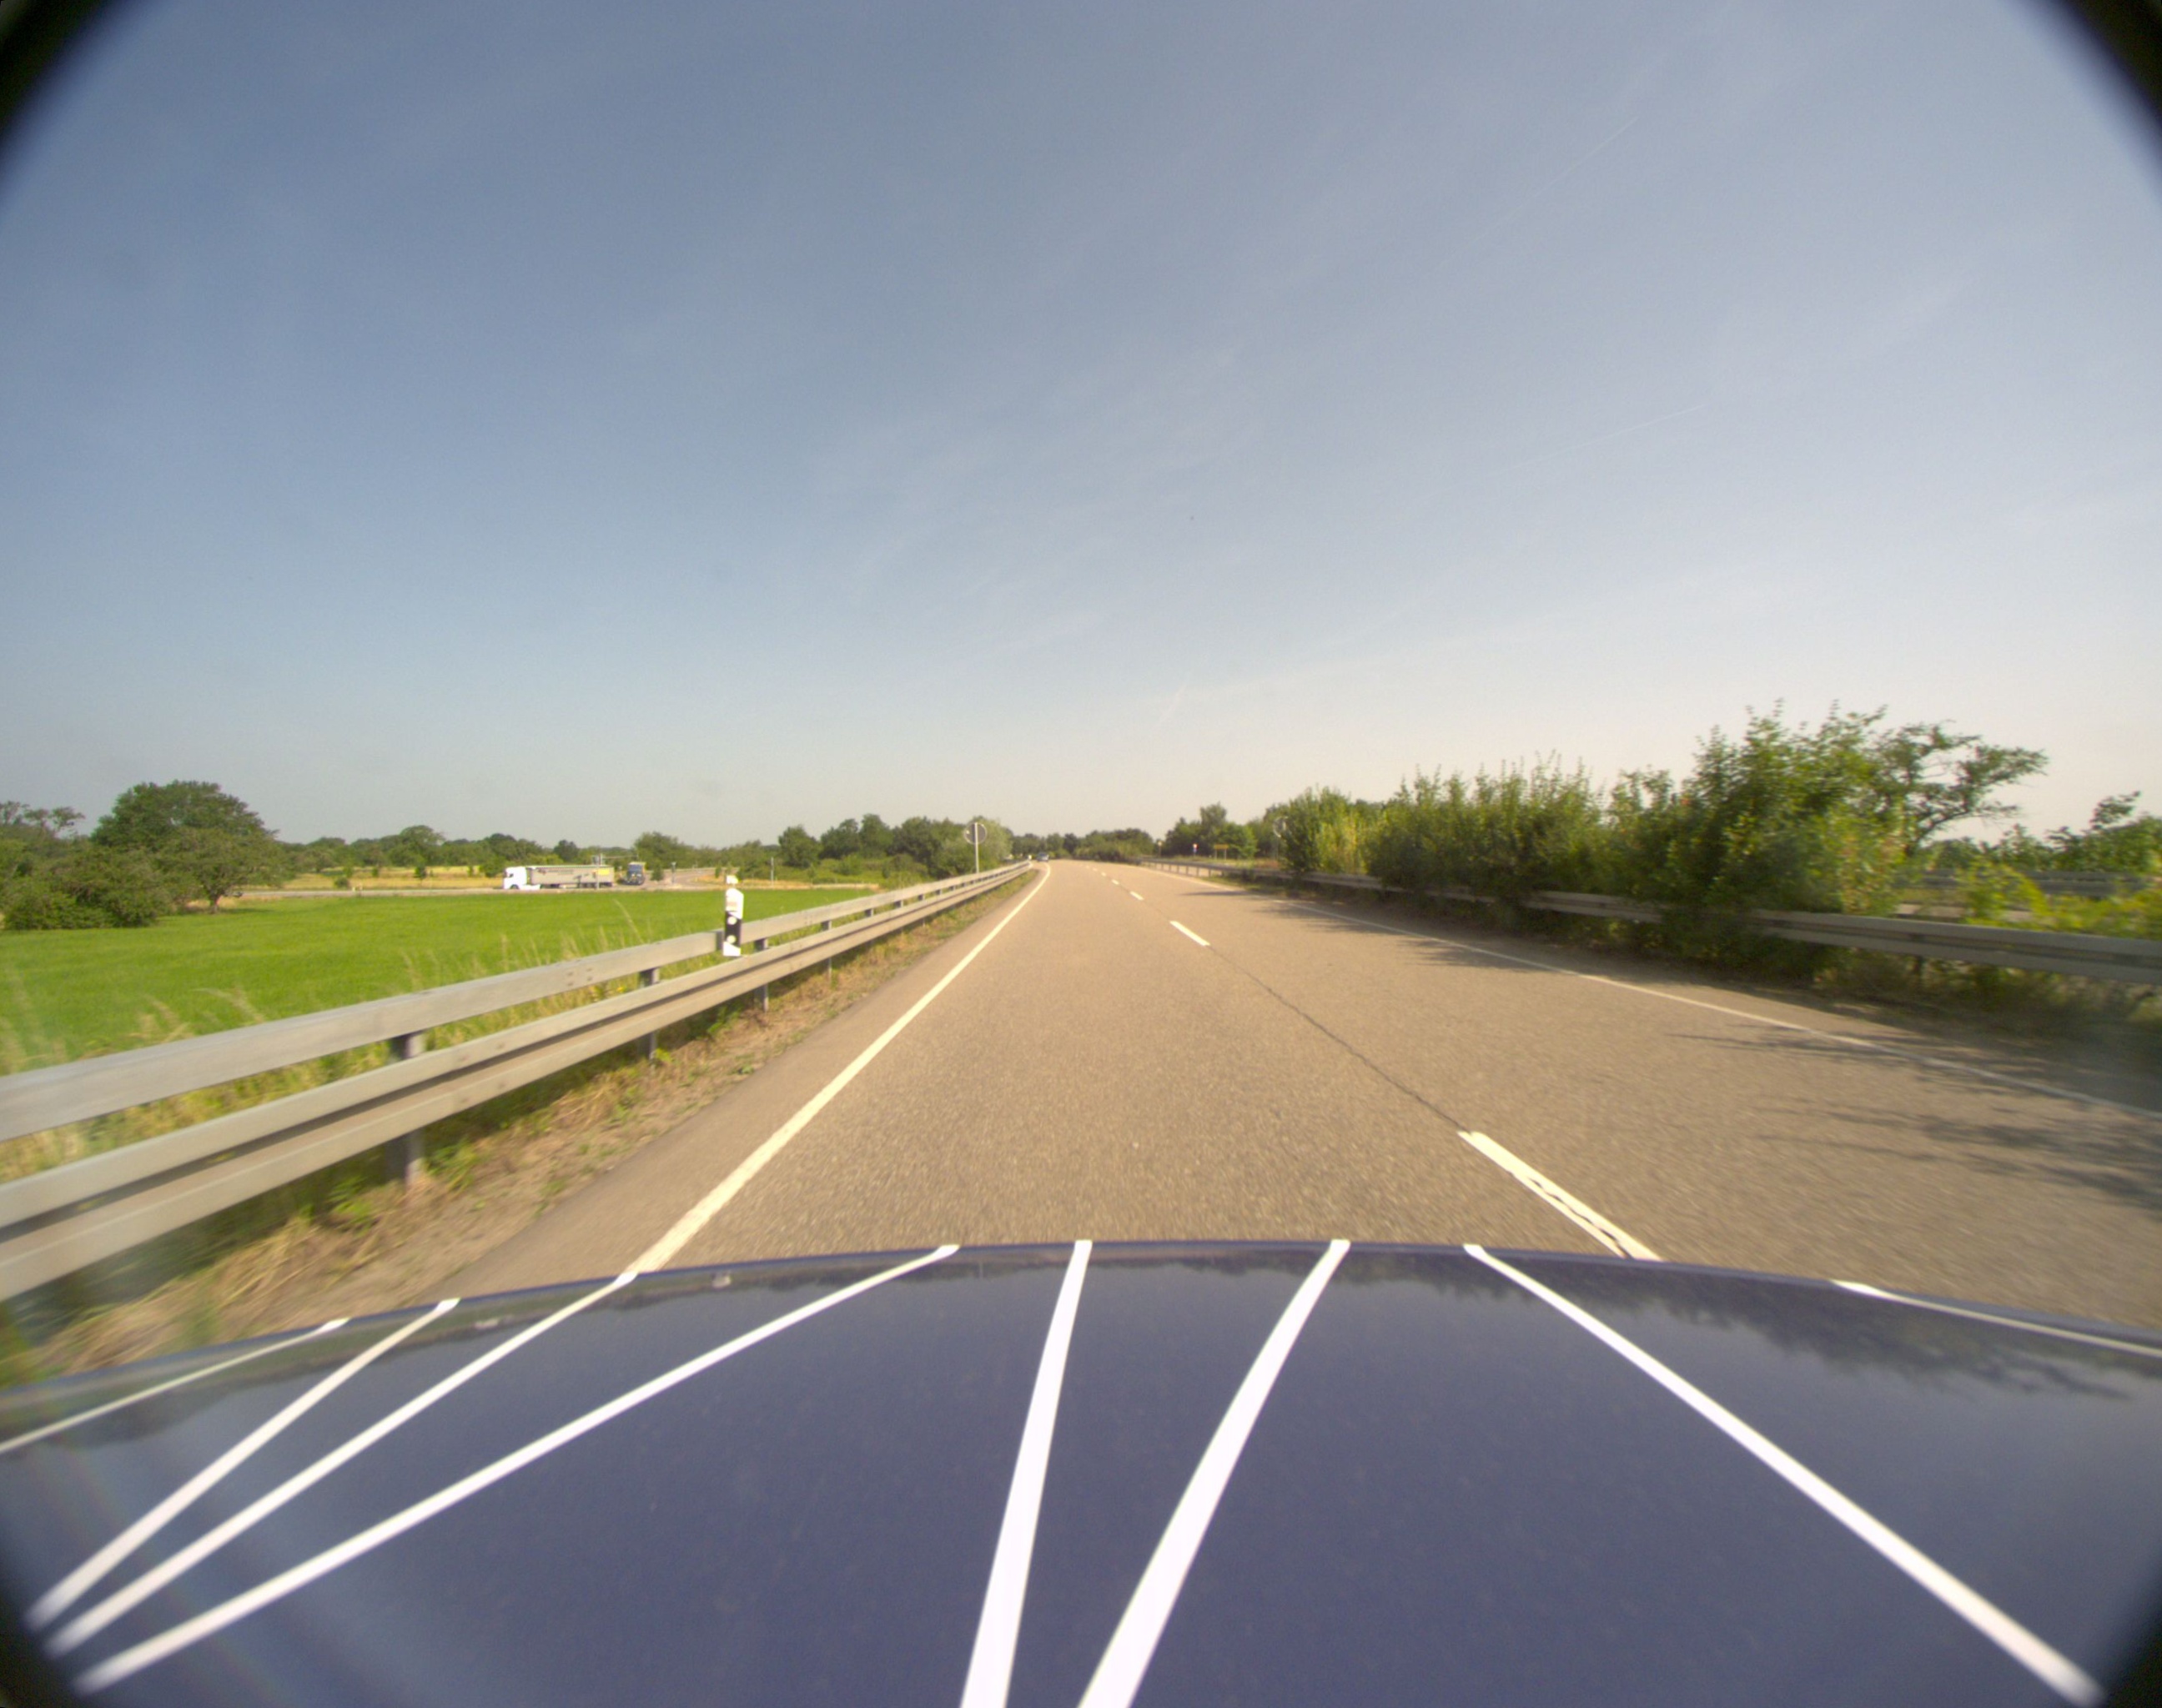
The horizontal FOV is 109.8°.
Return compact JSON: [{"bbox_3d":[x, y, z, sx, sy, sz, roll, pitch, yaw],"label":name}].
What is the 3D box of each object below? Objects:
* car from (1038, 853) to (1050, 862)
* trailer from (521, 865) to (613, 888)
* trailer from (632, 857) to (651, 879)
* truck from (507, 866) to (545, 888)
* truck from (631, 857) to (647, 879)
[{"bbox_3d":[-6.268,0.632,129.931,1.703,1.474,3.598,-2,0,-8],"label":"car"},{"bbox_3d":[-89.693,3.801,133.076,2.103,3.631,13.957,-1,0,29],"label":"trailer"},{"bbox_3d":[-89.842,2.748,155.403,2.265,4.145,14.393,0,0,-26],"label":"trailer"},{"bbox_3d":[-93.182,3.824,127.695,4.951,3.656,2.103,-1,0,-33],"label":"truck"},{"bbox_3d":[-86.908,2.750,149.377,2.265,4.145,4.362,0,0,-25],"label":"truck"}]
